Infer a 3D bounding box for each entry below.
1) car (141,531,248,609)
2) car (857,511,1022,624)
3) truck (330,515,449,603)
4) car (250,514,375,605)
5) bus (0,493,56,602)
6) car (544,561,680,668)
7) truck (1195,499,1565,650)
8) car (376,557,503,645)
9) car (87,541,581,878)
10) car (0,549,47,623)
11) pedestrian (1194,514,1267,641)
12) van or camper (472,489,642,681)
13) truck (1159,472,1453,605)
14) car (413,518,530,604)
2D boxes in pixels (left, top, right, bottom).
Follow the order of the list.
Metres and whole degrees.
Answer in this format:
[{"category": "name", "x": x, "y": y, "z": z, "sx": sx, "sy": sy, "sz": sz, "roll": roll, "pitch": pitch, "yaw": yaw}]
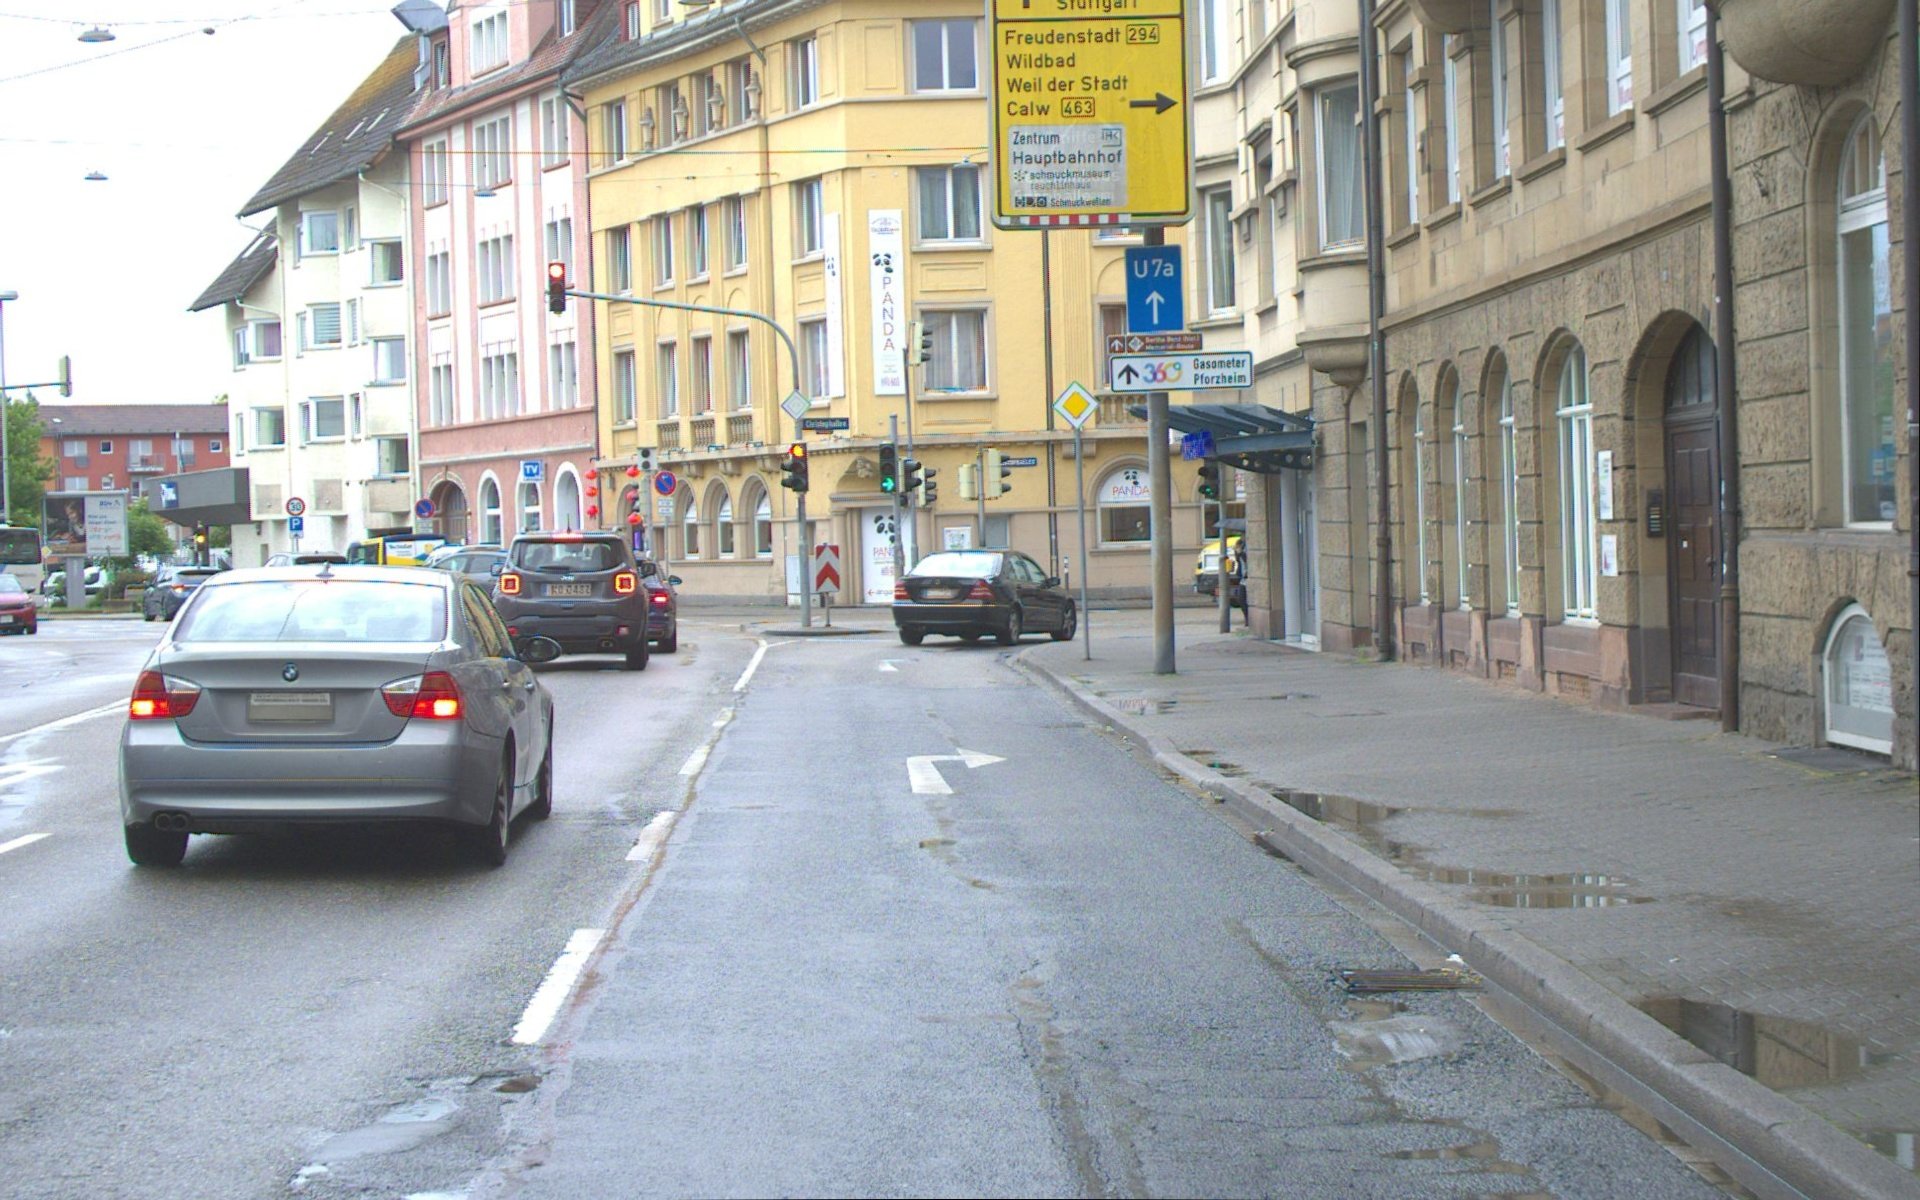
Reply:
[{"category": "car", "x": -20.418, "y": -0.800, "z": 91.574, "sx": 1.993, "sy": 2.007, "sz": 4.001, "roll": -2, "pitch": 1, "yaw": -24}, {"category": "car", "x": -0.350, "y": -0.466, "z": 50.416, "sx": 1.799, "sy": 1.558, "sz": 4.001, "roll": -1, "pitch": 0, "yaw": -9}, {"category": "truck", "x": -15.900, "y": -1.153, "z": 95.665, "sx": 2.026, "sy": 2.381, "sz": 4.237, "roll": -1, "pitch": 1, "yaw": -27}, {"category": "car", "x": -15.098, "y": -0.943, "z": 80.011, "sx": 1.993, "sy": 2.007, "sz": 4.001, "roll": -2, "pitch": 1, "yaw": -23}, {"category": "bus", "x": -31.419, "y": -1.434, "z": 101.224, "sx": 9.122, "sy": 3.094, "sz": 2.915, "roll": -1, "pitch": 1, "yaw": 20}, {"category": "car", "x": -4.872, "y": 0.181, "z": 48.341, "sx": 1.802, "sy": 1.401, "sz": 4.685, "roll": -1, "pitch": 0, "yaw": -5}, {"category": "truck", "x": 8.419, "y": -0.519, "z": 69.236, "sx": 7.090, "sy": 2.841, "sz": 2.083, "roll": -1, "pitch": 0, "yaw": -2}, {"category": "car", "x": -11.353, "y": 0.025, "z": 74.813, "sx": 1.993, "sy": 1.809, "sz": 4.001, "roll": -2, "pitch": 0, "yaw": -19}, {"category": "car", "x": -2.965, "y": 0.454, "z": 17.144, "sx": 1.799, "sy": 1.459, "sz": 4.371, "roll": 0, "pitch": 0, "yaw": -2}, {"category": "car", "x": -22.465, "y": -0.329, "z": 79.906, "sx": 1.844, "sy": 1.678, "sz": 4.001, "roll": 0, "pitch": 0, "yaw": -24}, {"category": "pedestrian", "x": 4.112, "y": -0.355, "z": 52.375, "sx": 1.057, "sy": 1.897, "sz": 1.025, "roll": -1, "pitch": 1, "yaw": 4}, {"category": "van or camper", "x": -4.808, "y": -0.216, "z": 41.506, "sx": 1.854, "sy": 2.139, "sz": 4.143, "roll": -2, "pitch": 1, "yaw": -5}, {"category": "truck", "x": 6.128, "y": -1.094, "z": 60.596, "sx": 5.048, "sy": 2.242, "sz": 2.231, "roll": -1, "pitch": 1, "yaw": -40}, {"category": "car", "x": -12.898, "y": -1.031, "z": 90.594, "sx": 1.761, "sy": 2.173, "sz": 4.001, "roll": 1, "pitch": 0, "yaw": -28}]
